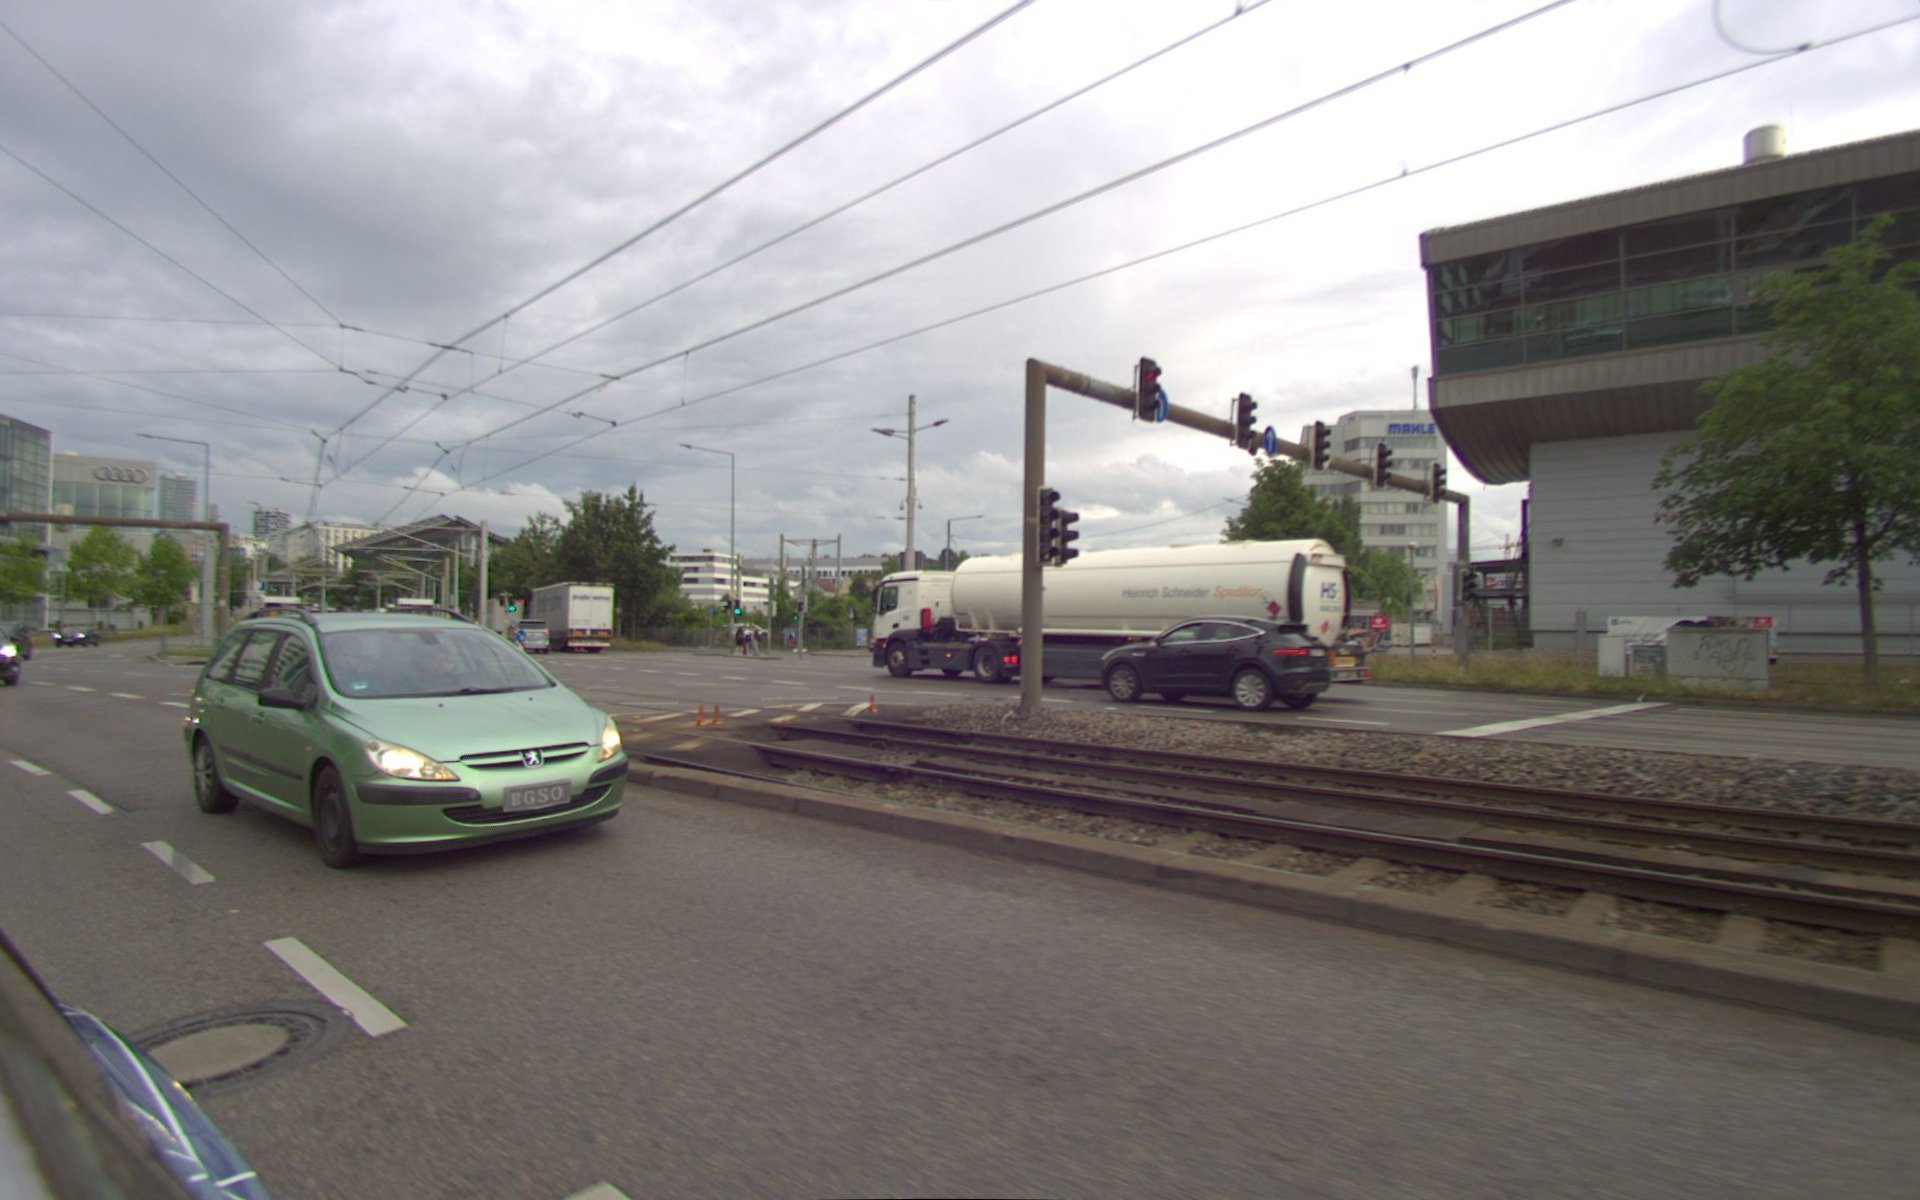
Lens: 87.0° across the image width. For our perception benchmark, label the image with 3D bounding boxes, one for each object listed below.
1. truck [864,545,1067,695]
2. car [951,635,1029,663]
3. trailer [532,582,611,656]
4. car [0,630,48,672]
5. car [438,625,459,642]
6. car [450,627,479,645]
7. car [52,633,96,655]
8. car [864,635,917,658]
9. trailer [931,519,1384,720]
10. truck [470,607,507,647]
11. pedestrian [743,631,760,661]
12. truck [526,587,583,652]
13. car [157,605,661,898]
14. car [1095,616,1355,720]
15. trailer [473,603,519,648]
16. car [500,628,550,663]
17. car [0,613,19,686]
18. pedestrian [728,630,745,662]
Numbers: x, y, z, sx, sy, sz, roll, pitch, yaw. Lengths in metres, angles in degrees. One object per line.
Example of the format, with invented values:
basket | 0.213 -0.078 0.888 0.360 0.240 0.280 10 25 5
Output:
truck | 0.055 0.597 28.814 2.713 3.834 5.416 4 -3 -43
car | 1.591 2.501 52.258 1.999 1.412 3.945 -2 -3 41
trailer | -24.655 1.243 63.711 2.613 4.156 12.784 2 -2 -30
car | -38.422 2.028 40.920 1.703 1.604 4.204 -1 -1 -34
car | -55.695 3.622 110.183 1.861 1.664 4.108 -1 0 -30
car | -44.904 3.251 91.673 1.877 1.567 4.579 -1 -1 -32
car | -67.215 3.306 76.798 1.673 1.534 3.837 1 -1 -28
car | -4.685 3.136 68.309 3.259 1.447 1.459 1 -1 -19
trailer | 4.115 0.501 24.534 2.693 3.884 11.238 4 -3 -44
truck | -48.445 2.798 103.834 2.792 4.027 6.004 2 -3 -31
pedestrian | -11.628 2.560 56.528 0.716 1.675 0.741 0 -1 -34
truck | -27.701 1.347 68.992 2.629 4.161 6.204 2 -2 -30
car | -4.140 0.815 7.256 4.399 1.479 1.677 -1 0 40
car | 4.730 1.129 18.459 4.198 1.665 1.900 -1 -1 45
trailer | -45.303 2.584 98.612 2.756 4.139 11.475 2 -3 -31
car | -24.794 2.577 57.527 1.966 1.851 4.922 0 -2 -31
car | -21.889 1.049 21.817 3.898 1.534 1.677 -1 -3 37
pedestrian | -12.298 2.530 55.674 0.716 1.718 0.741 0 -1 -34
